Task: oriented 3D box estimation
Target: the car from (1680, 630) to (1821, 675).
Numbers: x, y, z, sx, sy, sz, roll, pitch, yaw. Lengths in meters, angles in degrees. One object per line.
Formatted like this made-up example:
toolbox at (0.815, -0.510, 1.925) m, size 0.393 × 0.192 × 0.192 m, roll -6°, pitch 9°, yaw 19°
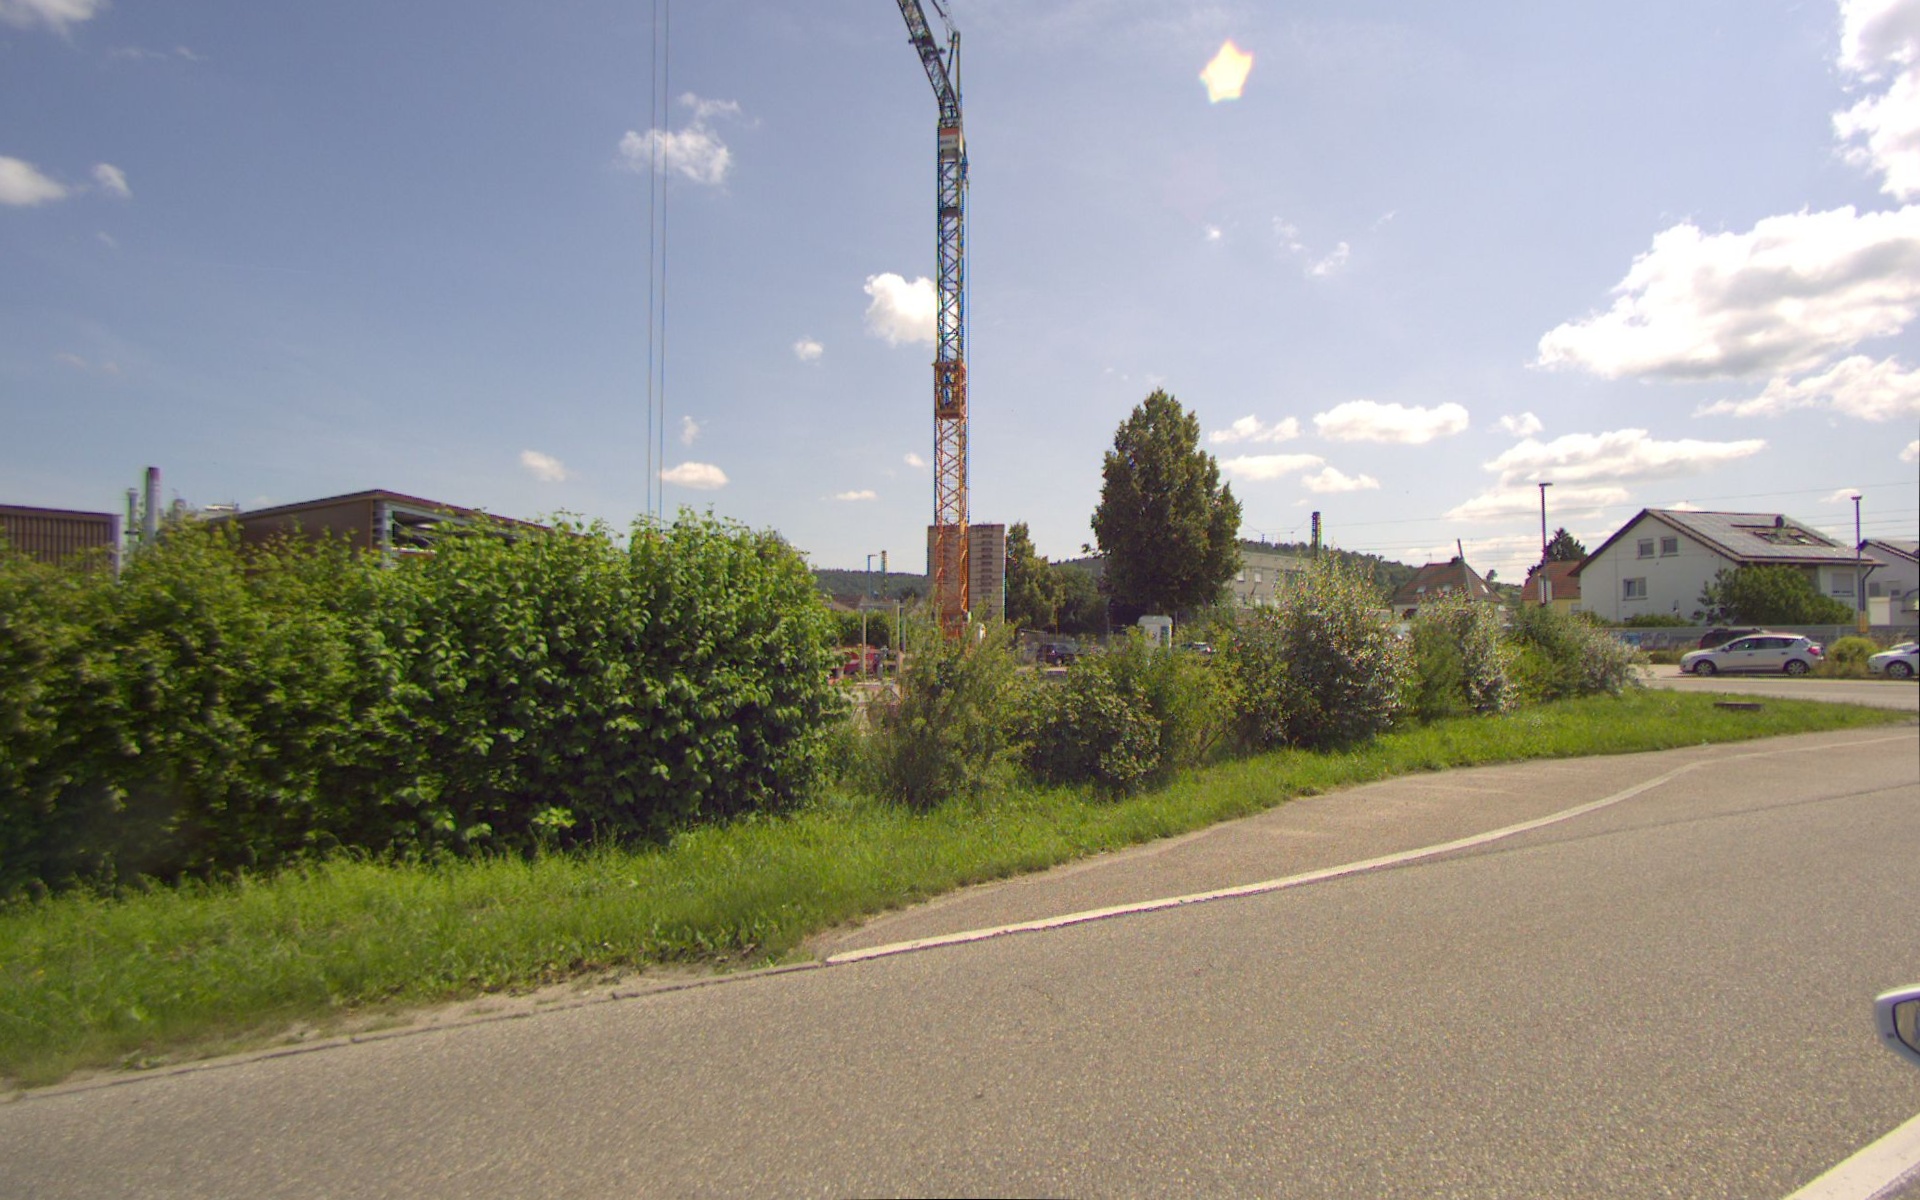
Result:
car at (29.179, 1.899, 37.128) m, size 3.958 × 1.582 × 1.812 m, roll -2°, pitch -3°, yaw 43°

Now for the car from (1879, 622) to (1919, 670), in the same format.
car at (36.184, 1.657, 36.077) m, size 1.982 × 1.713 × 4.419 m, roll 0°, pitch -1°, yaw -37°

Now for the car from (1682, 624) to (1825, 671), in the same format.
car at (30.549, 1.859, 38.744) m, size 4.118 × 1.660 × 1.943 m, roll -4°, pitch -5°, yaw 44°

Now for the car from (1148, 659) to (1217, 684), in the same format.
car at (13.164, 4.227, 59.602) m, size 1.522 × 1.331 × 3.954 m, roll 2°, pitch -3°, yaw -40°

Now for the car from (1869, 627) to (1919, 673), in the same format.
car at (32.749, 1.690, 32.897) m, size 1.813 × 1.496 × 4.246 m, roll 2°, pitch -1°, yaw -41°

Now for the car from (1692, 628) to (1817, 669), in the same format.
car at (32.229, 1.952, 40.809) m, size 1.682 × 1.579 × 3.748 m, roll 2°, pitch -3°, yaw -42°

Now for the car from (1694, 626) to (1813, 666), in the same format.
car at (33.720, 1.955, 42.750) m, size 1.487 × 1.610 × 3.794 m, roll 2°, pitch -3°, yaw -44°

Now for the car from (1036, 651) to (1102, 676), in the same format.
car at (6.929, 4.034, 64.029) m, size 1.877 × 1.522 × 3.951 m, roll 2°, pitch -3°, yaw -42°
